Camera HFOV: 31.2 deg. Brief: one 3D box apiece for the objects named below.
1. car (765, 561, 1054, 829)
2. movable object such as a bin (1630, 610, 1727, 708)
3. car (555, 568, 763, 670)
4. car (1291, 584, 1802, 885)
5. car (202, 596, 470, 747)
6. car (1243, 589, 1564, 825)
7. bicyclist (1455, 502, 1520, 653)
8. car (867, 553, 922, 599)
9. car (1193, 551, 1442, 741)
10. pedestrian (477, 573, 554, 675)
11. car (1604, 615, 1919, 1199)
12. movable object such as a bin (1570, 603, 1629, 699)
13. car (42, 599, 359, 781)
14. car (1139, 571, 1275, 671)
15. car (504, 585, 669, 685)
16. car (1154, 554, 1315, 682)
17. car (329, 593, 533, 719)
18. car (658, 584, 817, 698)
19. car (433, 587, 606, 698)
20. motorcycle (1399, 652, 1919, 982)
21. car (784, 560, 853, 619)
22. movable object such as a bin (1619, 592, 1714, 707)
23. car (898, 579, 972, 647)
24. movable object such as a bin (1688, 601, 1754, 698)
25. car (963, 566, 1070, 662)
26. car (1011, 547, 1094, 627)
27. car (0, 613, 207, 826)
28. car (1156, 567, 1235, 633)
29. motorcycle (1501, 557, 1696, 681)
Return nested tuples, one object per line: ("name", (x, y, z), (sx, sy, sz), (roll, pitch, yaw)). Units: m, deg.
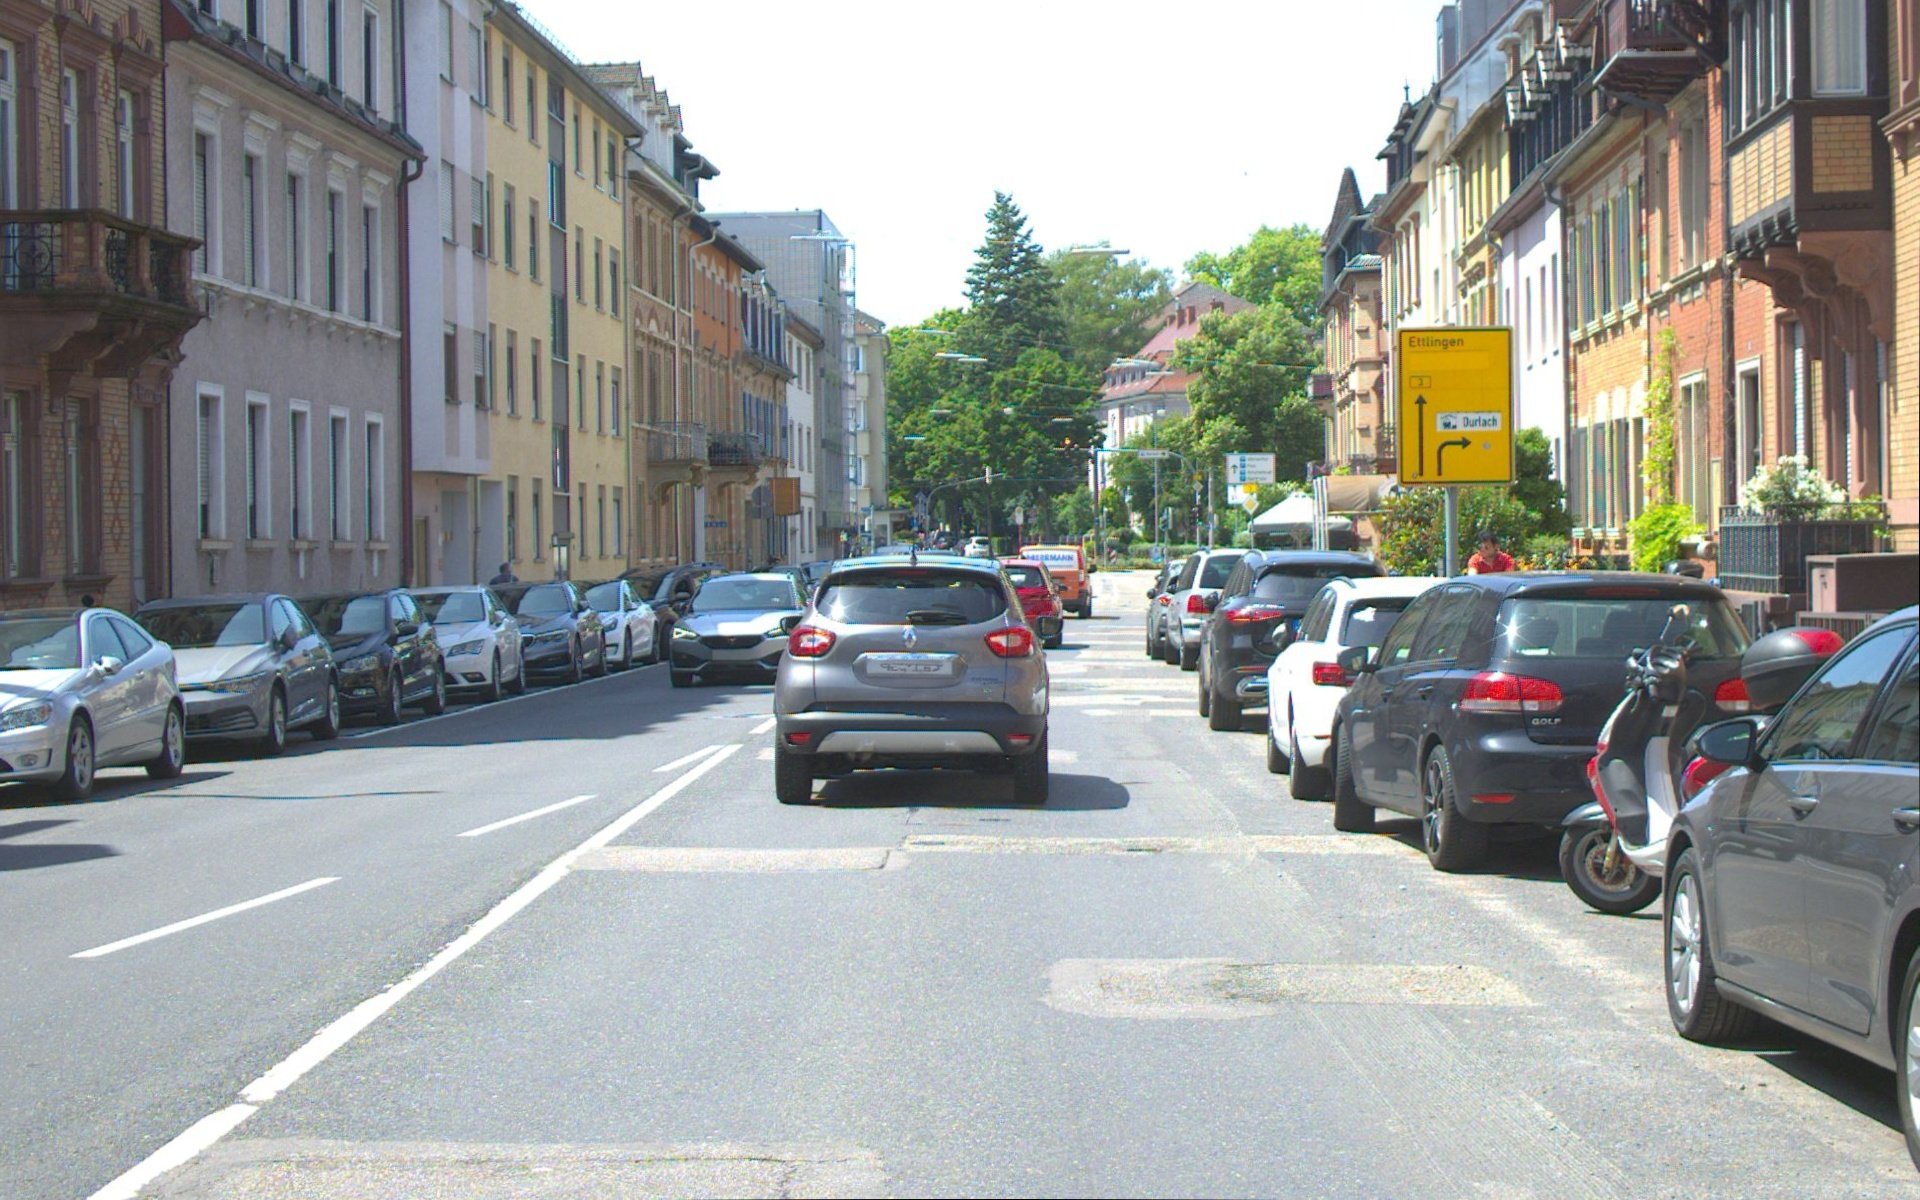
("car", (-0.263, 0.578, 23.125), (1.744, 1.611, 4.000), (1, 0, 1))
("movable object such as a bin", (6.839, 0.561, 32.743), (0.788, 0.904, 0.539), (-1, 0, -1))
("car", (-5.286, 0.313, 60.981), (1.906, 1.632, 4.553), (-2, 0, 19))
("car", (2.985, 0.627, 18.443), (1.648, 1.409, 4.502), (0, 0, -4))
("car", (-6.751, 0.735, 37.689), (1.840, 1.418, 4.502), (-4, 0, 3))
("car", (2.922, 0.652, 23.495), (1.716, 1.409, 4.589), (-1, 0, 2))
("bicyclist", (5.207, -0.220, 33.977), (0.532, 1.464, 0.791), (-1, 0, 2))
("car", (-2.646, -0.989, 139.777), (1.905, 1.815, 4.302), (-1, 1, 3))
("car", (3.320, 0.394, 32.717), (1.993, 1.656, 4.625), (-1, 0, 2))
("pedestrian", (-7.730, 0.410, 59.834), (1.151, 1.744, 0.969), (-1, 0, 4))
("car", (3.082, 0.754, 9.605), (1.700, 1.376, 4.167), (0, 0, -1))
("movable object such as a bin", (7.228, 0.572, 38.894), (0.557, 1.072, 0.727), (0, 0, 3))
("car", (-6.925, 0.772, 31.822), (1.840, 1.417, 4.502), (-5, 0, 0))
("car", (3.940, 0.313, 55.442), (1.860, 1.482, 4.310), (1, 1, 0))
("car", (-5.886, 0.528, 54.641), (1.840, 1.418, 4.557), (-3, 0, 3))
("car", (3.962, 0.224, 50.225), (1.860, 1.742, 4.618), (1, 1, -1))
("car", (-6.540, 0.655, 42.941), (1.839, 1.418, 4.502), (-2, 0, 0))
("car", (-2.923, 0.515, 45.934), (1.790, 1.415, 4.315), (-1, 0, 1))
("car", (-6.198, 0.569, 48.867), (1.839, 1.418, 4.646), (-2, 0, 0))
("motorcycle", (2.947, 0.838, 14.083), (1.994, 1.221, 1.110), (0, -1, 40))
("car", (-4.083, -0.310, 99.732), (1.904, 1.614, 4.303), (-2, 0, -2))
("movable object such as a bin", (6.853, 0.475, 33.366), (0.788, 1.085, 0.539), (-1, 0, -1))
("car", (-0.683, 0.347, 96.058), (1.993, 1.786, 5.148), (-1, 1, 0))
("movable object such as a bin", (8.591, 0.554, 38.836), (0.609, 1.073, 0.761), (0, 0, 3))
("car", (0.999, 0.231, 62.287), (1.812, 1.615, 4.441), (-2, 0, 0))
("car", (2.451, -0.360, 90.129), (1.994, 2.007, 4.466), (-1, 1, 4))
("car", (-7.151, 0.863, 25.961), (1.840, 1.418, 4.502), (-2, 0, 1))
("car", (5.795, -0.016, 84.955), (1.860, 1.548, 4.000), (2, 1, 3))
("motorcycle", (7.647, 0.223, 41.234), (2.129, 1.403, 0.937), (-2, 0, 1))
